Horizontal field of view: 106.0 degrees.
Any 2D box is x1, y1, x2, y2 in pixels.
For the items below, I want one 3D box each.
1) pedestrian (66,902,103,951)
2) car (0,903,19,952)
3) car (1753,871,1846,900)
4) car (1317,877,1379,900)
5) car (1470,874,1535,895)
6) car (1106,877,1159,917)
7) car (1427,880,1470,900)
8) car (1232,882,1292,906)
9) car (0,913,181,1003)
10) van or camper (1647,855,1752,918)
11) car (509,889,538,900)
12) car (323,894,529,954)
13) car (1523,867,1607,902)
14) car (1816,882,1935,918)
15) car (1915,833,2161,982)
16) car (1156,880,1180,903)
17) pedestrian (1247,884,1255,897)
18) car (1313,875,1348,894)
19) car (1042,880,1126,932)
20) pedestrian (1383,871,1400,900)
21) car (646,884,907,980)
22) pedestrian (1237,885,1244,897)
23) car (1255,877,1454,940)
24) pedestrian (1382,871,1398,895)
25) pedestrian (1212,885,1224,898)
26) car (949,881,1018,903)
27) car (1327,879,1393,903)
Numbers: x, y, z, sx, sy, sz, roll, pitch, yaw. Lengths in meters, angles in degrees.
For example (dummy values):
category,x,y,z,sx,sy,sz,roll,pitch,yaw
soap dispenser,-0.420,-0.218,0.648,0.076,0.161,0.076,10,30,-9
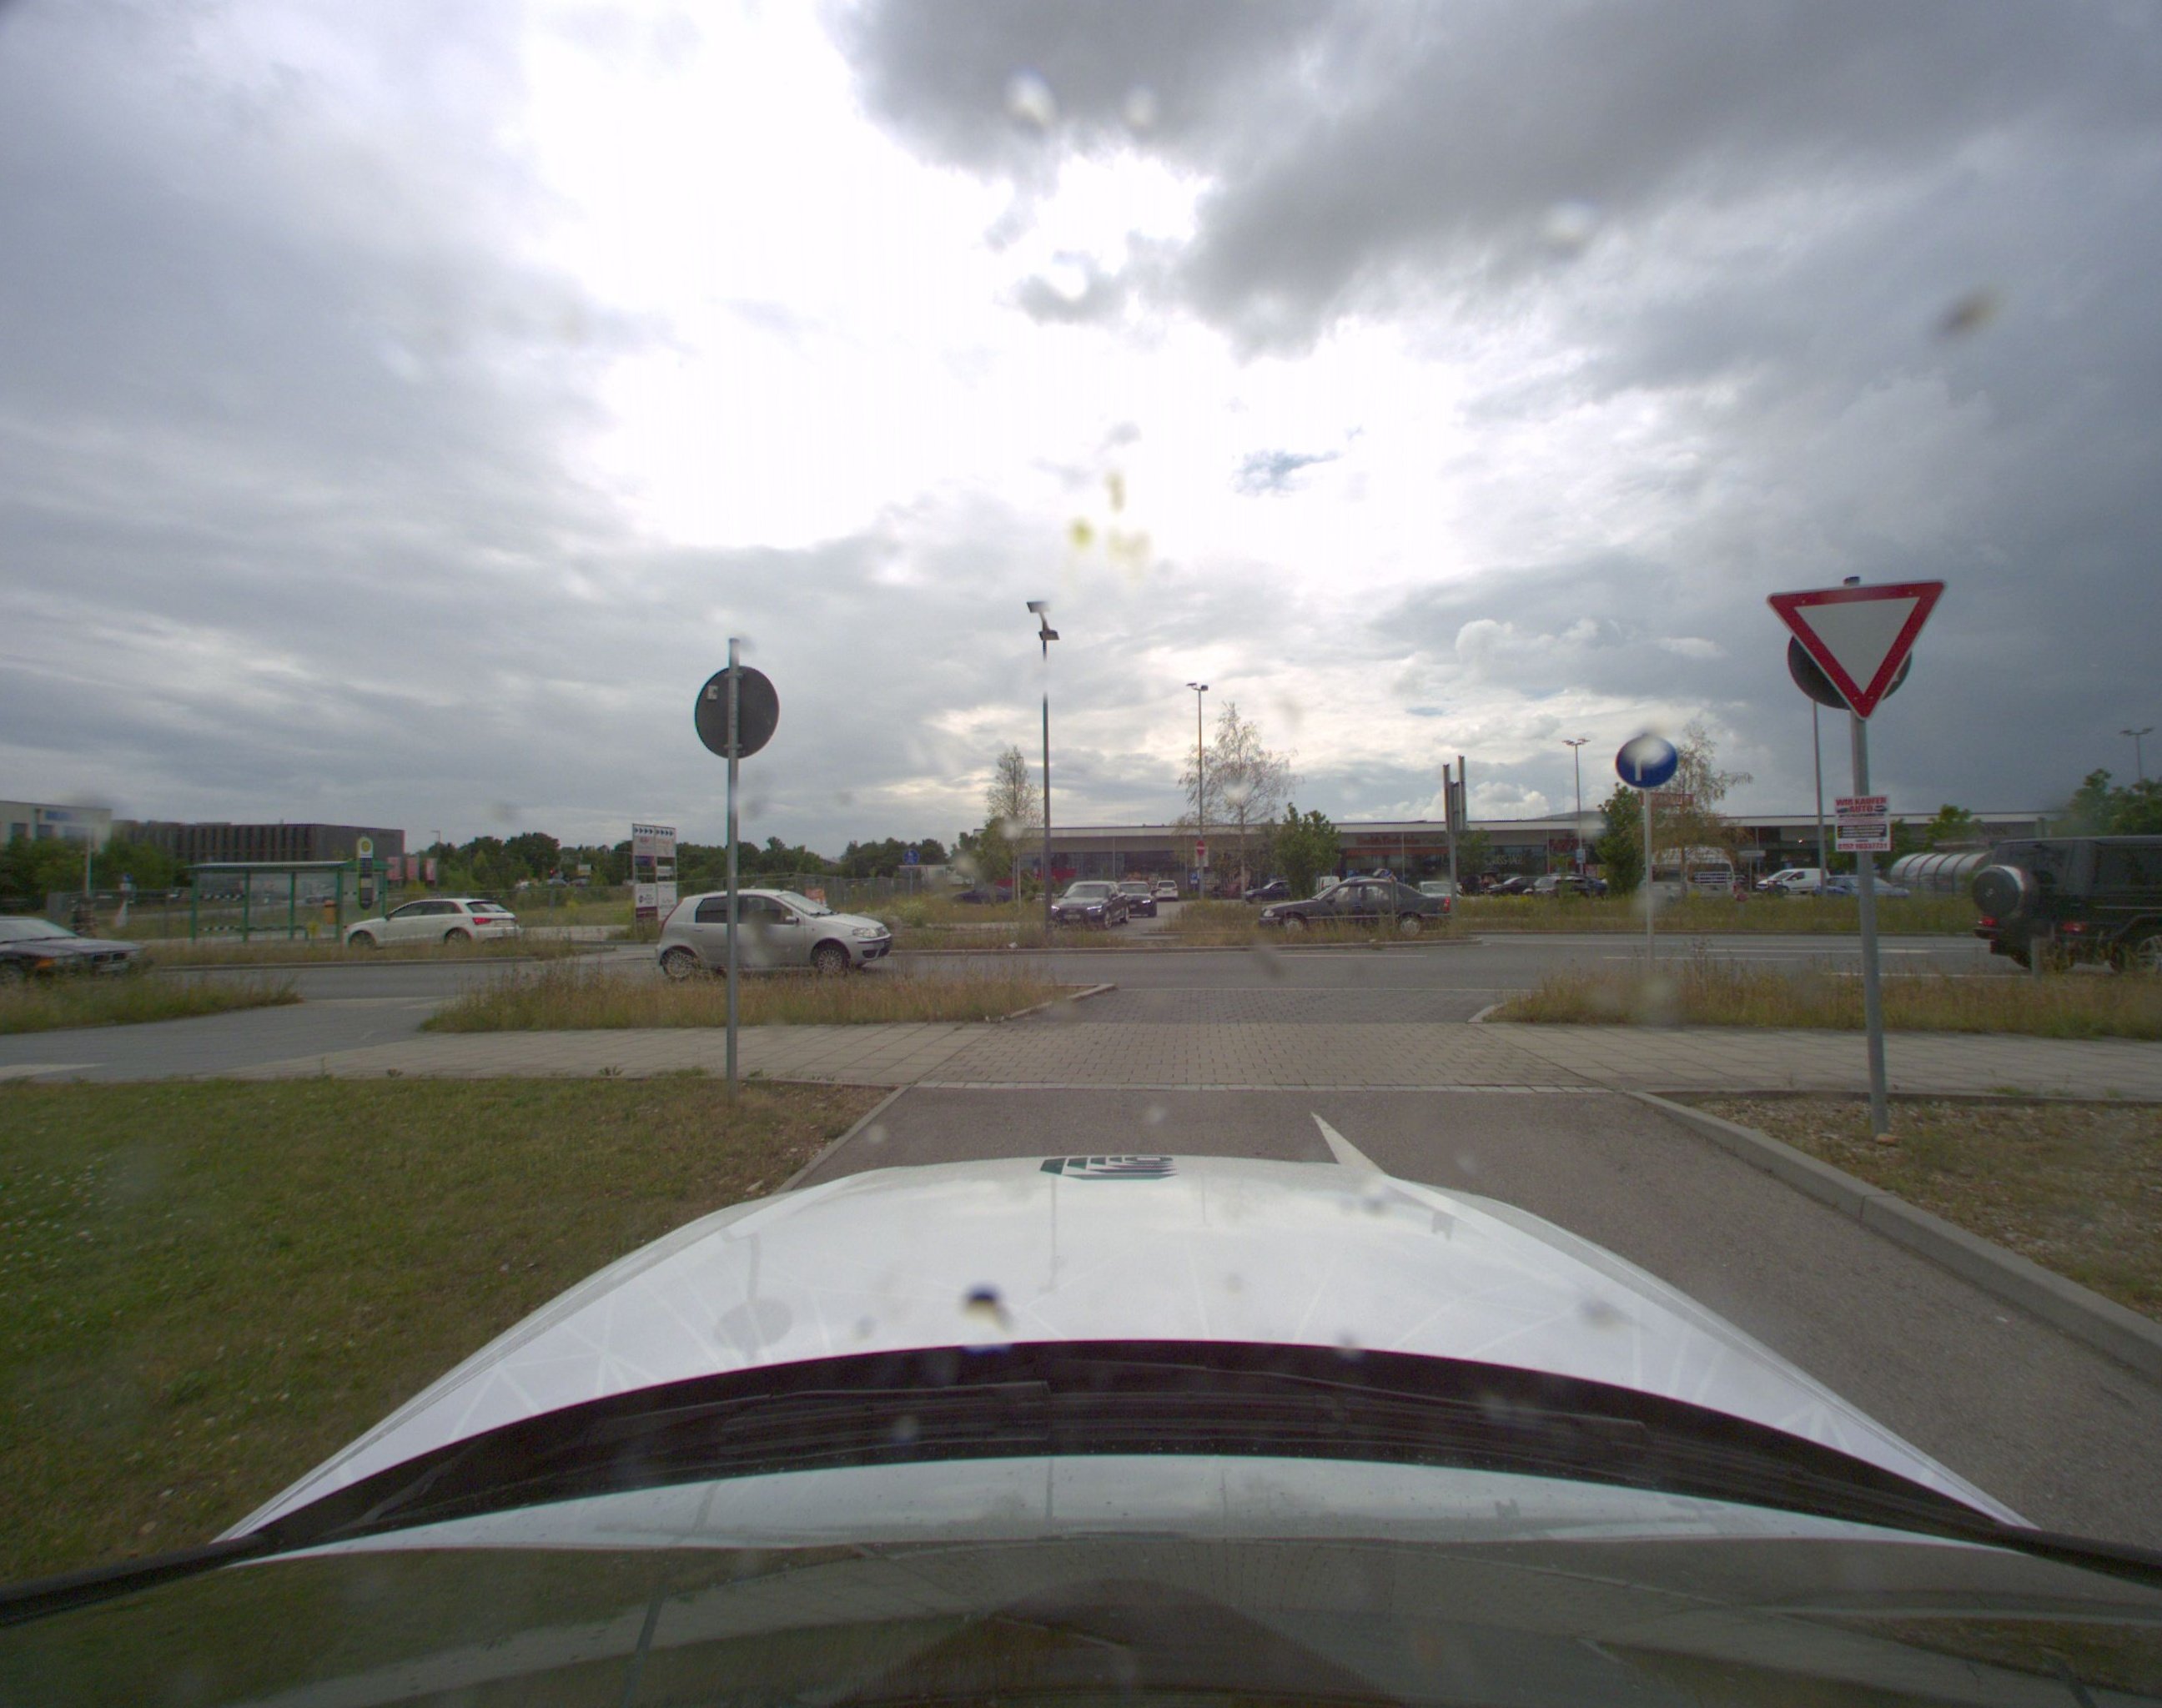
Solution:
category,x,y,z,sx,sy,sz,roll,pitch,yaw
pedestrian,-35.651,2.572,29.140,0.642,1.722,0.748,-3,-3,37
car,-31.713,2.019,21.886,4.037,1.343,1.718,0,-2,0
car,47.979,2.100,54.434,4.397,1.819,2.000,-1,-3,1
car,18.178,2.332,55.577,3.730,1.454,1.669,-1,-2,4
car,32.453,2.339,62.809,3.968,1.508,2.003,-1,-2,5
car,2.146,1.712,32.738,1.770,1.446,4.619,-1,-3,8
car,29.260,2.824,64.944,1.983,1.508,4.006,-1,-2,6
car,11.652,2.572,52.594,3.592,1.454,1.669,-1,-2,3
car,-18.843,1.805,14.275,4.269,1.387,1.760,-1,-2,3
van or camper,26.085,1.353,34.564,2.265,2.493,4.017,-1,-2,17
car,-77.888,5.620,113.763,1.671,1.486,3.637,-1,-2,-4
car,-17.271,1.834,21.609,4.026,1.481,1.759,-1,-3,2
car,21.576,1.391,36.471,1.975,1.451,4.162,-1,-3,12
car,32.858,1.896,33.840,1.790,1.385,4.167,-1,-3,17
car,15.234,0.713,11.282,4.798,1.924,2.007,-1,-2,13
car,7.051,3.020,65.980,1.814,1.700,4.241,-1,-1,7
pedestrian,15.345,3.313,73.432,0.574,1.124,0.562,-1,-2,0
car,20.109,2.469,65.818,1.983,1.508,4.006,-1,-2,6
car,0.198,1.568,25.663,1.780,1.467,4.334,-1,-2,12
pedestrian,21.686,2.196,56.925,0.860,2.014,1.006,-1,-2,9
car,-5.096,1.282,14.030,3.794,1.461,1.799,-1,-2,-2
pedestrian,14.582,3.363,74.422,0.574,1.124,0.562,-1,-2,0
car,6.524,1.332,19.858,4.332,1.396,1.795,-1,-3,8
pedestrian,20.954,1.968,55.266,0.816,1.632,0.901,-1,-3,9
pedestrian,12.639,3.447,75.129,0.967,1.154,1.133,-1,-2,2
car,-7.328,2.855,61.664,4.992,1.558,1.999,0,-3,-1
car,17.901,2.392,52.364,3.730,1.454,1.669,-1,-2,4
